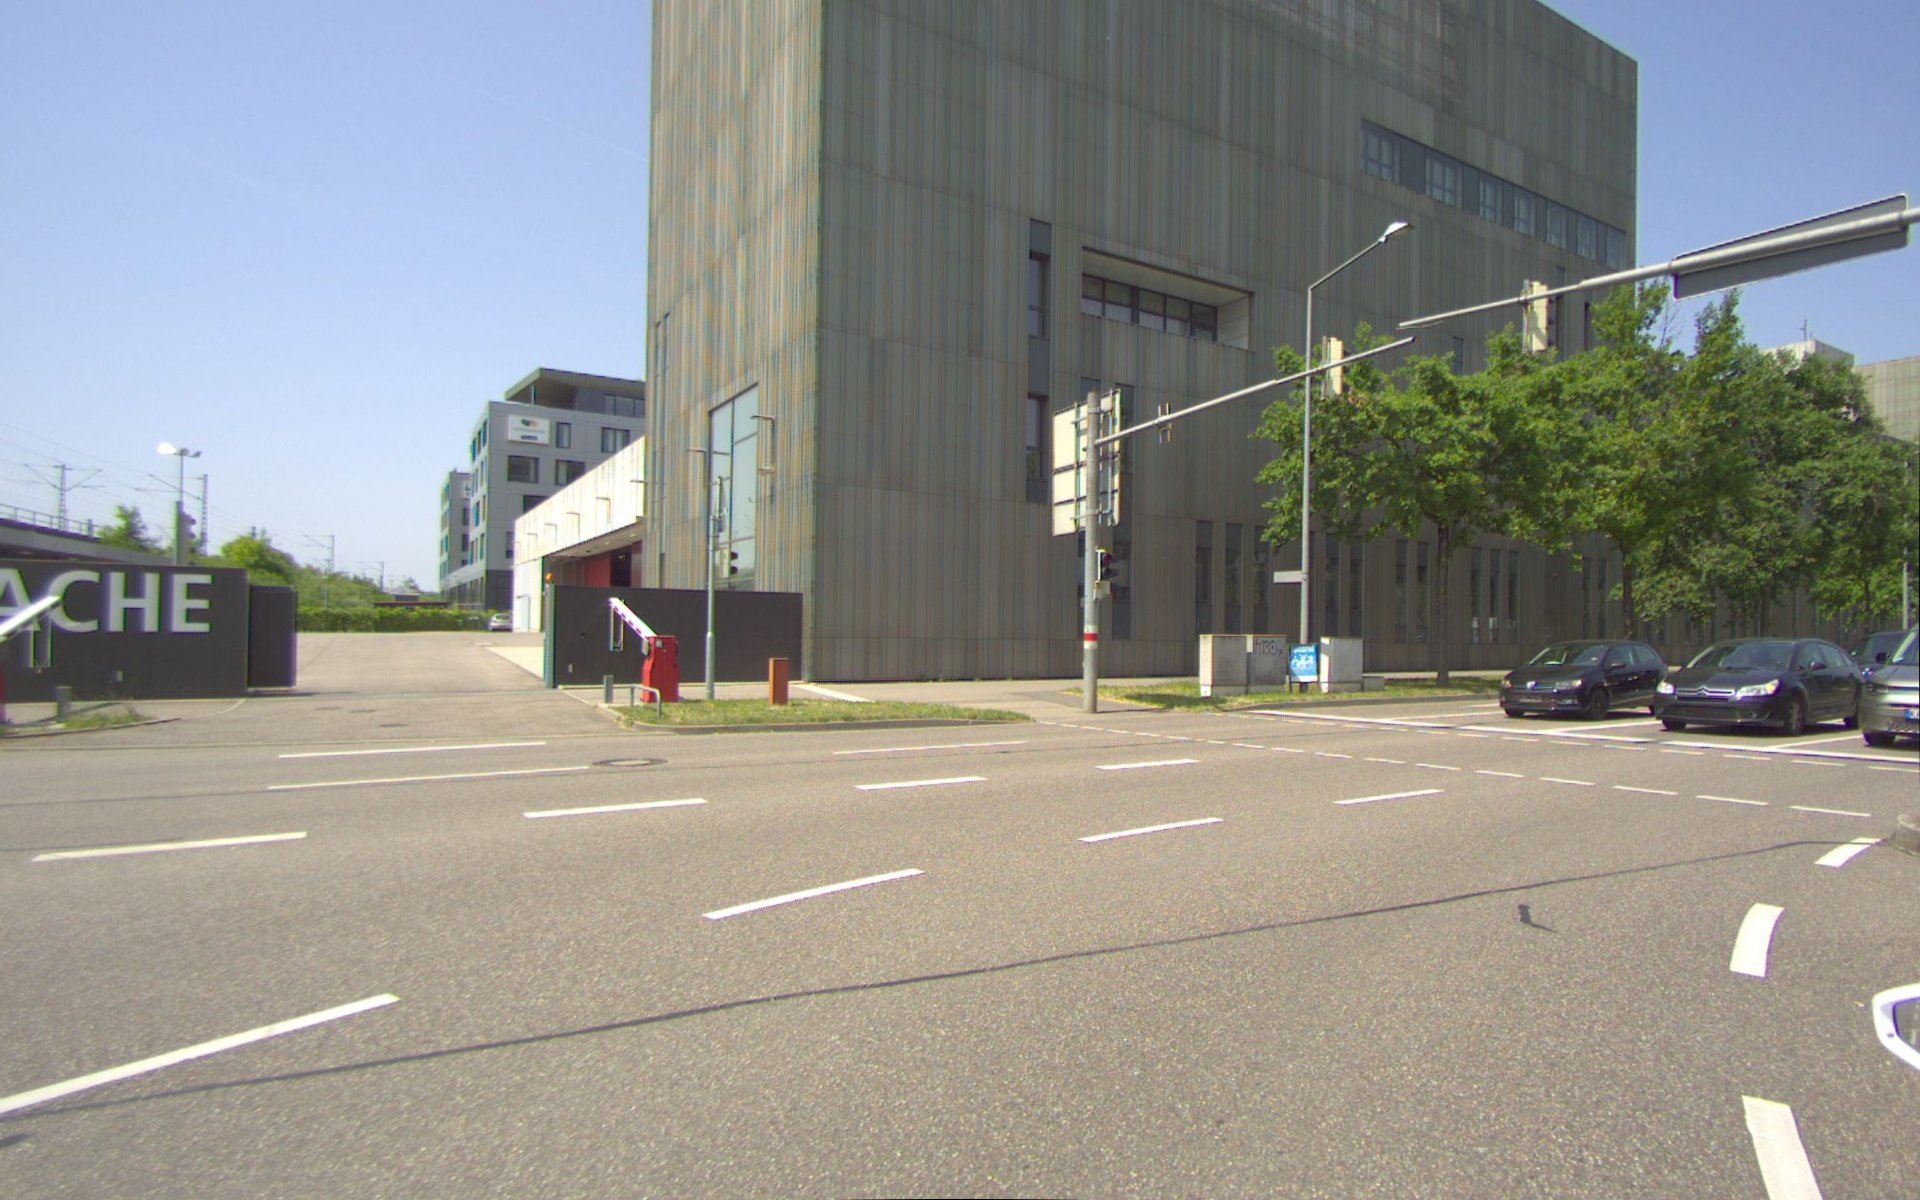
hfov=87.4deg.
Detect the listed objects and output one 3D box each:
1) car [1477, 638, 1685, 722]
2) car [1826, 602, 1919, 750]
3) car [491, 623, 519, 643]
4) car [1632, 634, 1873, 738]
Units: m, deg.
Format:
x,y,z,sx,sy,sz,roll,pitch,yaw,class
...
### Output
x,y,z,sx,sy,sz,roll,pitch,yaw,class
11.940,1.460,19.255,4.205,1.436,1.800,1,-2,-33,car
13.825,0.979,13.581,4.659,1.824,1.802,1,-2,-31,car
-36.313,2.625,80.177,1.973,1.572,3.976,1,-1,-25,car
12.725,1.280,16.070,4.205,1.465,1.800,2,-2,-33,car
